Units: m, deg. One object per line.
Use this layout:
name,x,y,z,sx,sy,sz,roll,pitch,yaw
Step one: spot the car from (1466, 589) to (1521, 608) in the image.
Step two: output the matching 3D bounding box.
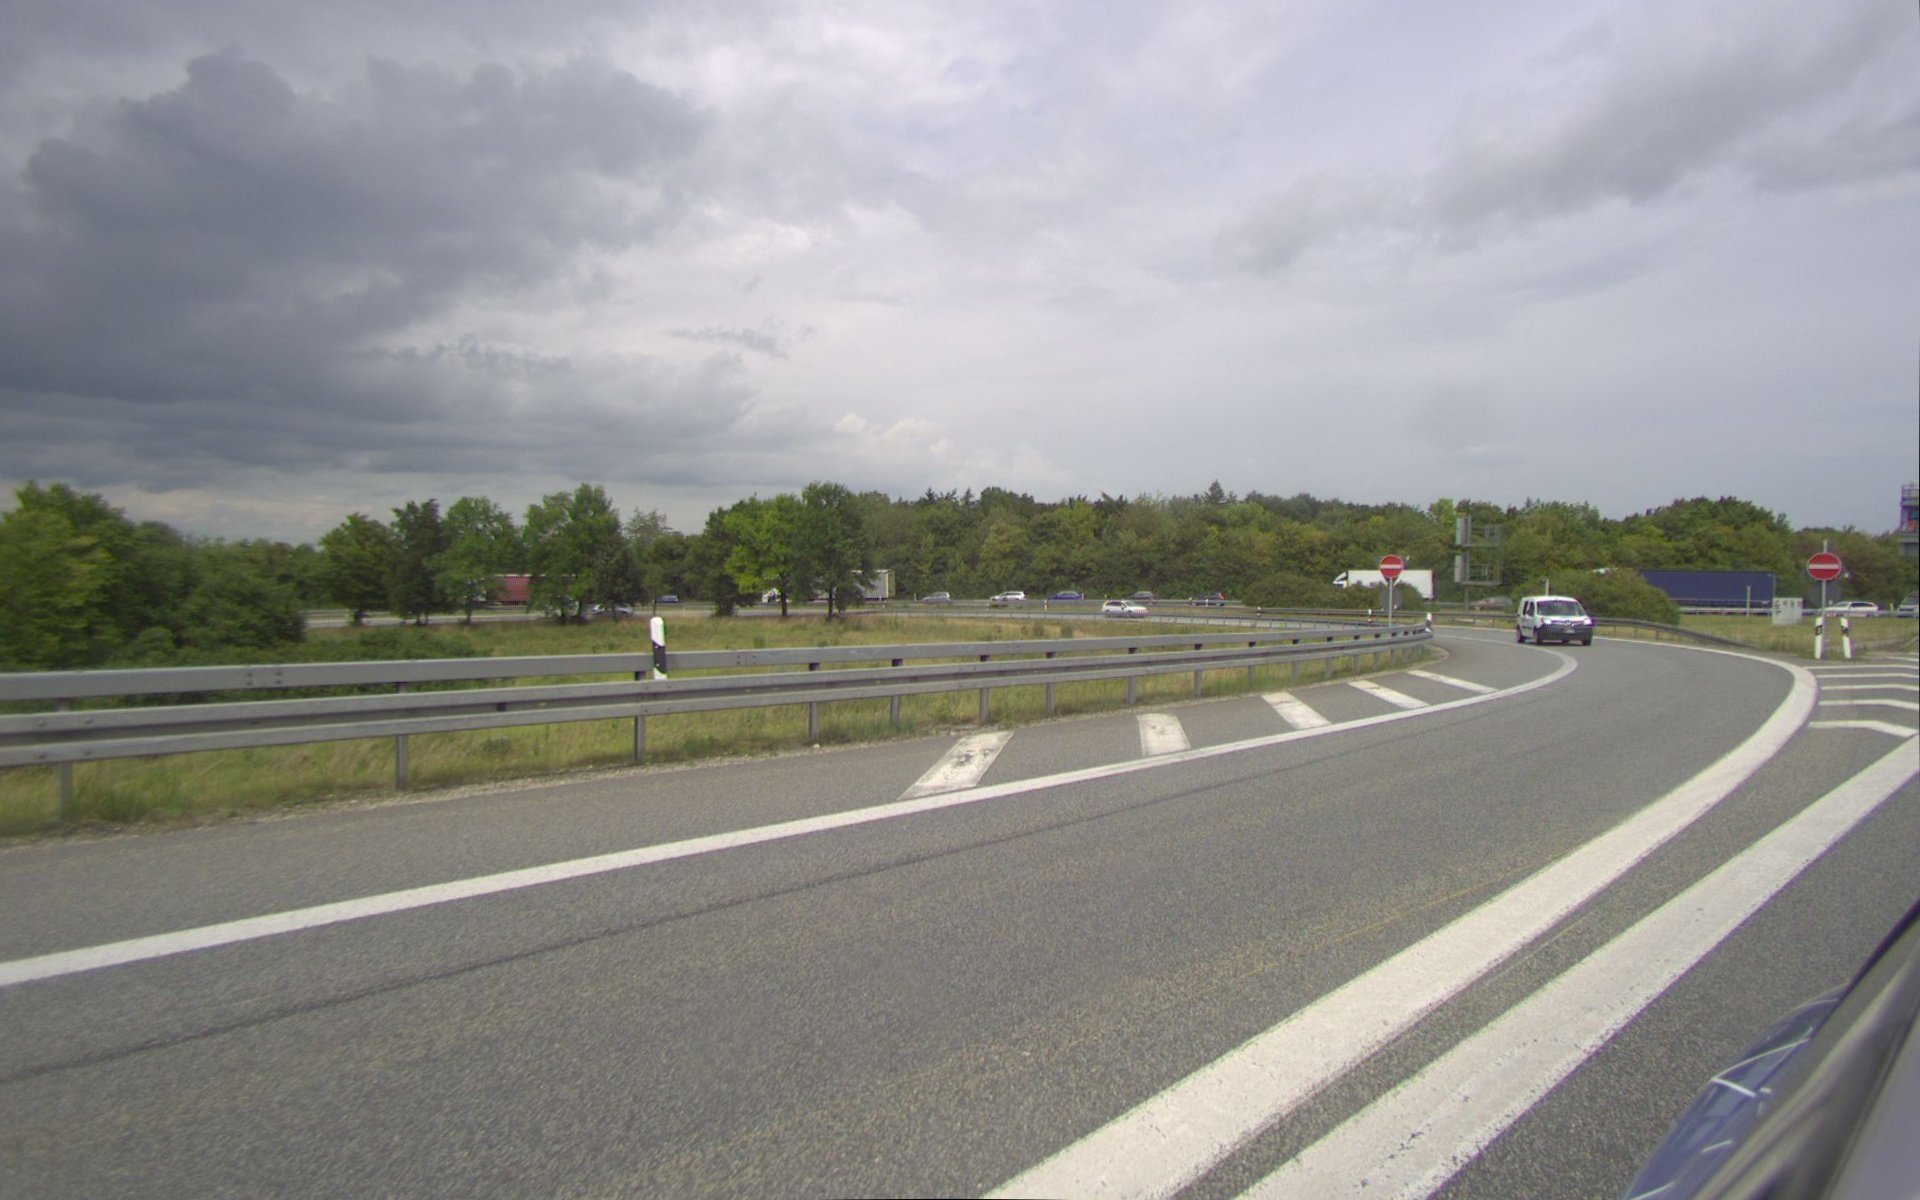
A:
car,45.236,-0.118,85.881,3.951,1.569,1.726,0,0,21

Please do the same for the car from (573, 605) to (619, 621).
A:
car,-39.440,1.358,109.777,4.262,1.675,2.036,-1,0,-4

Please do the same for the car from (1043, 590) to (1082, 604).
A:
car,11.080,-0.304,109.658,3.951,1.512,1.548,0,0,21

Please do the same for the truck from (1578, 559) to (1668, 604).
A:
truck,57.978,-1.593,88.578,5.823,3.851,2.898,0,0,5

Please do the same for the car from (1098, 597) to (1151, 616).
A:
car,13.945,0.504,86.069,1.696,1.560,4.476,0,0,-41

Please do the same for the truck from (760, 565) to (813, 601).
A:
truck,-20.801,-1.991,121.551,5.716,4.232,2.679,-1,-1,17

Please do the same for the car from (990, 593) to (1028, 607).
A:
car,5.427,-0.024,112.503,3.952,1.576,1.786,0,0,22

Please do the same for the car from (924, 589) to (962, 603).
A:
car,-1.915,-0.414,115.562,3.950,1.498,1.693,-1,-1,20

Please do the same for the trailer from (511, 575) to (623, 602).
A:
trailer,-47.198,-1.405,121.956,12.294,3.169,3.271,0,0,-10

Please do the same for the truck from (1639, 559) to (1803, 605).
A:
truck,65.958,-1.506,87.951,11.583,3.907,2.843,0,0,5

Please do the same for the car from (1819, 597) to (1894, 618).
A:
car,76.221,0.640,86.093,4.417,1.807,1.998,0,0,5

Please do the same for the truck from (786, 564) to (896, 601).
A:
truck,-14.080,-1.984,119.464,12.836,4.296,2.681,0,0,17

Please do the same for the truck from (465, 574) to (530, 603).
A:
truck,-54.790,-1.344,120.019,6.794,3.308,3.203,0,0,-19

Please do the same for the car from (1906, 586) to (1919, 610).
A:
car,84.905,-0.174,87.017,5.832,2.039,2.003,0,0,-8

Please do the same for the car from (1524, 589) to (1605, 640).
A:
car,22.073,0.488,37.097,1.841,1.768,3.972,0,0,21

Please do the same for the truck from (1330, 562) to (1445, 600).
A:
truck,40.121,-1.693,95.204,9.772,3.446,2.672,0,0,25
